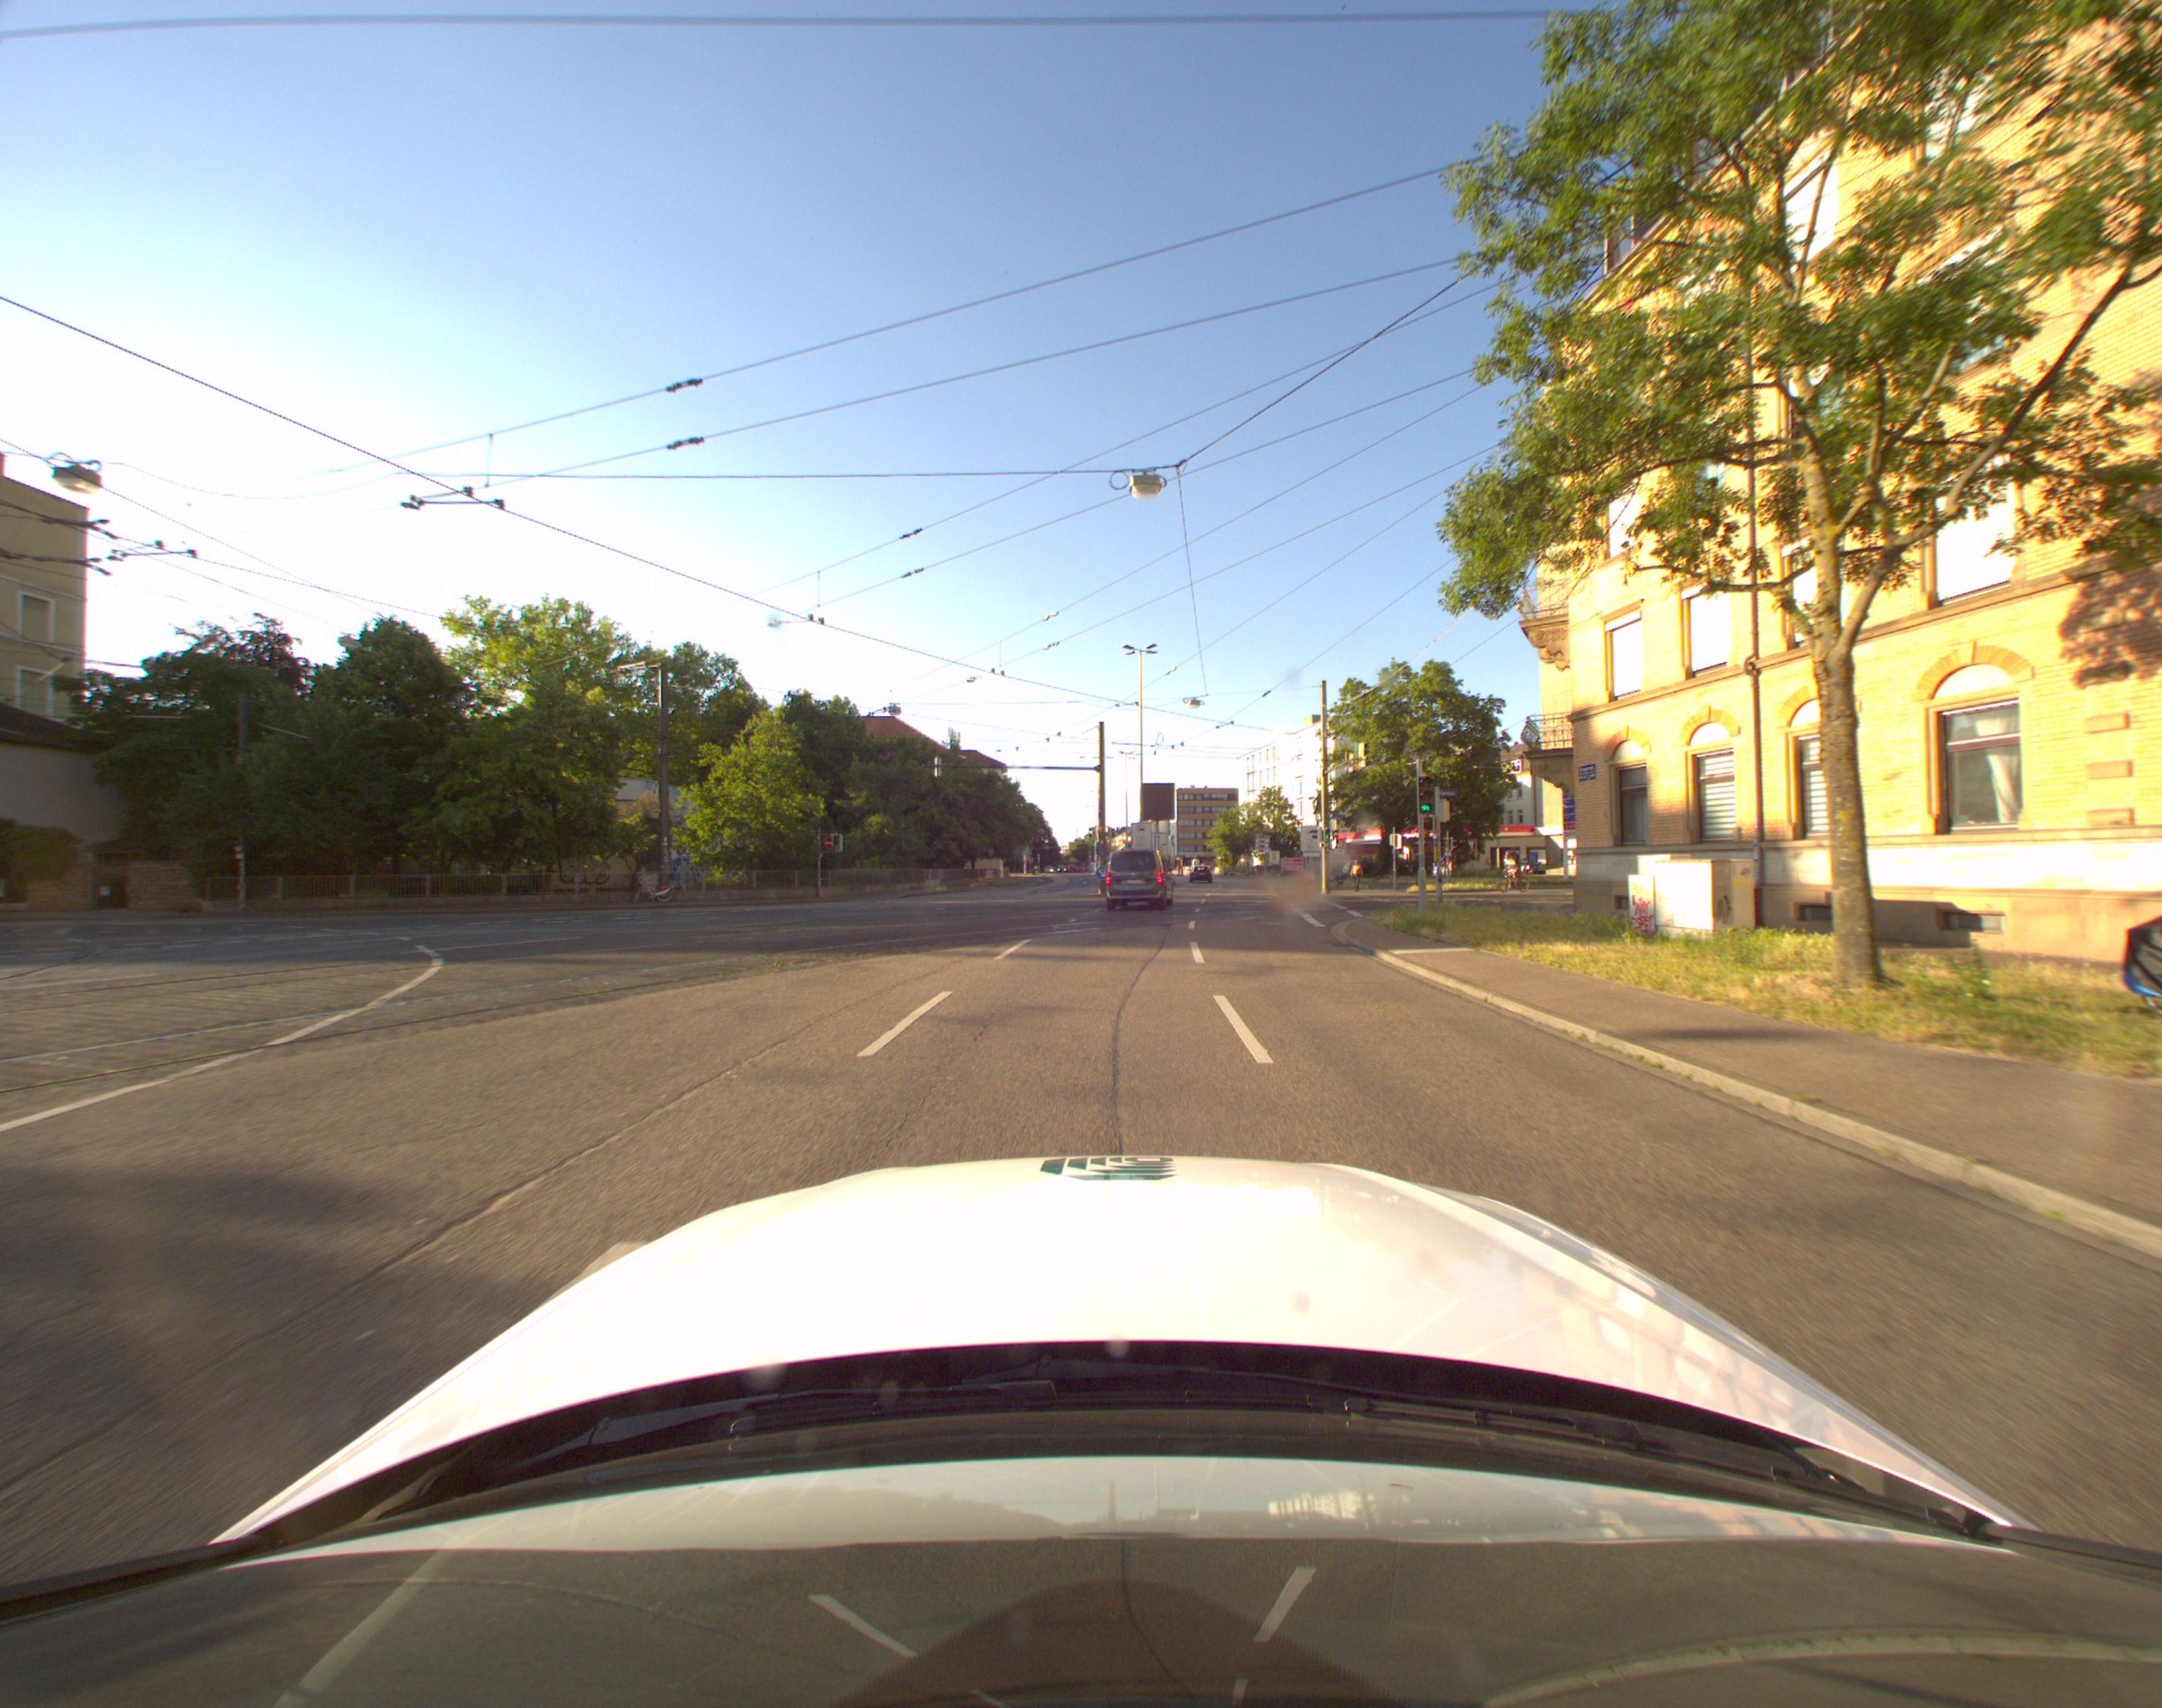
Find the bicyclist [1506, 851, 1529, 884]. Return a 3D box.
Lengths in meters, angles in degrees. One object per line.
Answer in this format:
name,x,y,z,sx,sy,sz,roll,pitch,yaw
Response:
bicyclist,21.090,0.657,39.371,0.694,1.583,0.635,-1,-1,-12

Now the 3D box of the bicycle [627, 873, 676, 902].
bicycle,-18.066,1.394,34.268,1.732,1.142,0.552,0,-1,-45

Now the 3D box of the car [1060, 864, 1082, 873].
car,-1.950,2.786,158.413,4.001,1.595,1.986,0,-1,-21

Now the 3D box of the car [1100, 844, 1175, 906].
car,1.990,0.675,27.189,1.981,1.901,4.311,1,-1,11

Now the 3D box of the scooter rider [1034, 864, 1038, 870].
scooter rider,-7.672,2.192,139.271,0.510,1.036,0.444,1,-1,-14

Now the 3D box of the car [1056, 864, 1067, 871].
car,-4.363,3.027,179.790,1.984,1.595,4.004,-1,-1,4

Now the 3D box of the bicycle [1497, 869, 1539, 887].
bicycle,21.111,1.177,39.358,1.811,0.829,0.620,-1,-1,-12

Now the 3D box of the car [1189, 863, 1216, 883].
car,9.889,1.547,66.502,1.837,1.544,3.635,-1,-1,4

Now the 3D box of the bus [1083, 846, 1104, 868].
bus,2.608,0.693,174.191,3.285,4.617,9.979,1,-1,-6

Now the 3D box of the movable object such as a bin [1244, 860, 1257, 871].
movable object such as a bin,22.285,1.527,107.013,1.455,1.386,1.549,-1,-1,5

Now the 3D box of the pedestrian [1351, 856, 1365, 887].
pedestrian,14.665,0.915,43.114,0.549,1.629,0.701,-1,-1,6

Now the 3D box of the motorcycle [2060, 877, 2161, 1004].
motorcycle,9.342,0.734,6.678,0.601,1.044,1.746,-1,-1,4

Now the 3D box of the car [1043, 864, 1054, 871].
car,-7.160,3.005,179.544,1.984,1.595,4.004,-1,-1,4

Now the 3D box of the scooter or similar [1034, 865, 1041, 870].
scooter or similar,-7.450,2.305,139.314,1.100,0.976,0.556,1,-1,-13
